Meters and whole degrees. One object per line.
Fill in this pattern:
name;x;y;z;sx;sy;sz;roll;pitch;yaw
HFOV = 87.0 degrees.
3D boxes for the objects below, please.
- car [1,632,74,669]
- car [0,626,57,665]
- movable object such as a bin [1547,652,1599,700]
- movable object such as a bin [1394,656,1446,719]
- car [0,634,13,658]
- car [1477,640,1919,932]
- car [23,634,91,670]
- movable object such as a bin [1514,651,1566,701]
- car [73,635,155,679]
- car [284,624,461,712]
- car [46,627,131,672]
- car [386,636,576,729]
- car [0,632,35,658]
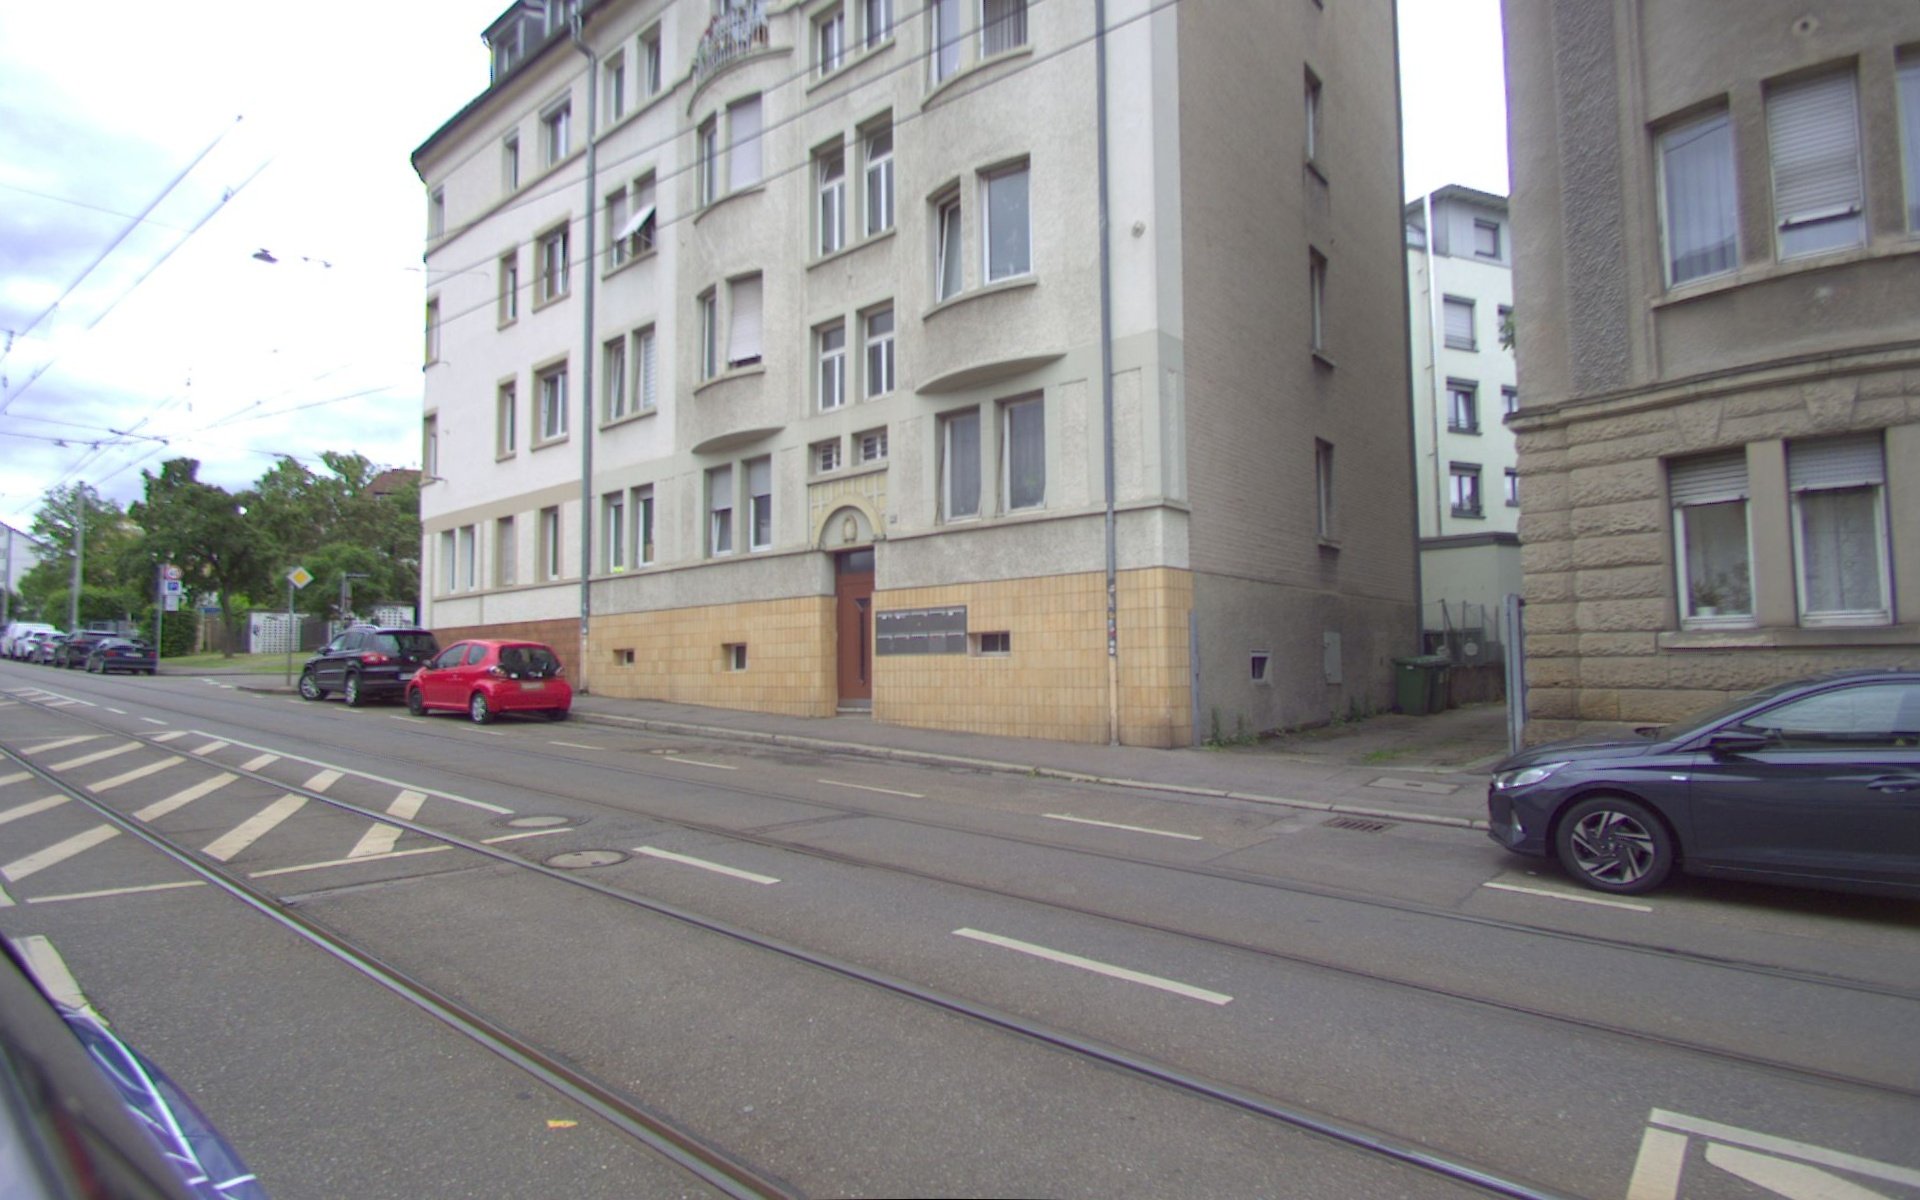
car;-45.860;2.499;50.286;4.629;1.699;1.949;0;-3;40
car;-50.107;2.391;54.102;4.730;1.927;1.949;0;-3;40
movable object such as a bin;14.839;1.831;24.510;0.951;1.135;0.659;2;-2;-27
movable object such as a bin;8.696;1.637;19.128;0.657;1.135;0.954;-1;-3;42
car;-59.547;2.769;61.849;4.436;1.397;1.821;0;-3;40
car;5.465;1.043;6.005;4.029;1.474;1.604;0;-3;40
car;-41.712;2.397;46.716;3.866;1.520;1.721;0;-3;40
movable object such as a bin;13.762;1.797;24.015;0.951;1.135;0.659;2;-2;-27
car;-32.042;2.145;38.288;4.152;1.489;1.604;0;-3;40
car;-12.803;1.407;21.942;4.398;1.658;1.849;0;-3;40
car;-36.942;2.081;42.866;4.440;1.699;1.949;0;-3;40
car;-8.892;1.458;18.683;3.740;1.474;1.605;0;-3;38
car;-54.487;2.539;57.750;4.514;1.397;1.821;0;-3;40
